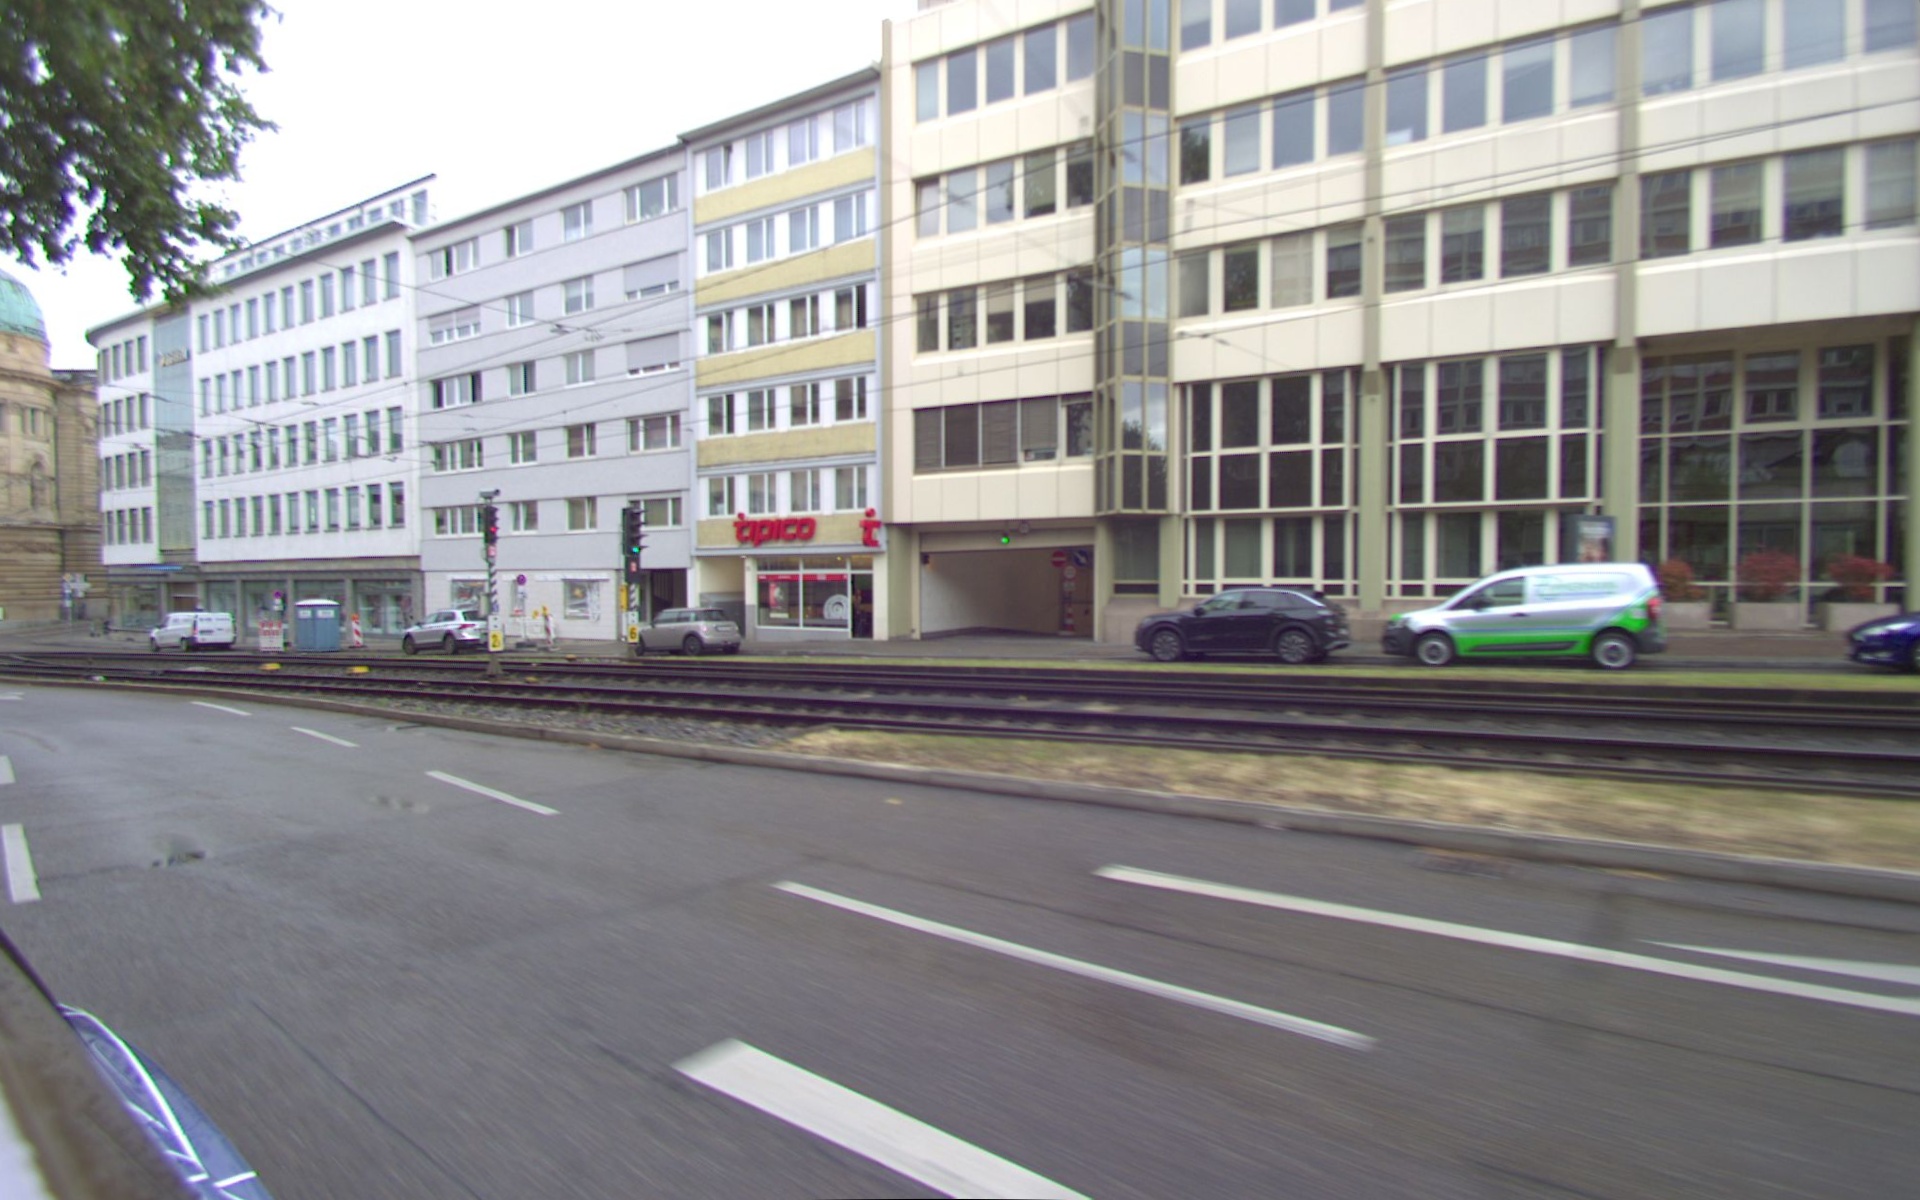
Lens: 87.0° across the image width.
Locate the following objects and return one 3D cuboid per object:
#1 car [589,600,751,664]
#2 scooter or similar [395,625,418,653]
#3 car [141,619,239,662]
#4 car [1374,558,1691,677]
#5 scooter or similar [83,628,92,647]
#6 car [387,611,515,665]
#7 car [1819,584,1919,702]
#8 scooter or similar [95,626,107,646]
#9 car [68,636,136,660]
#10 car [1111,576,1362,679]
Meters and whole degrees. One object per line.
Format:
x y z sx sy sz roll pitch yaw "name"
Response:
-8.690 0.902 30.236 4.678 1.686 1.980 -1 3 31 "car"
-24.331 1.714 44.488 0.970 1.211 0.378 -1 3 32 "scooter or similar"
-37.278 1.908 48.974 5.113 1.856 1.979 -1 3 31 "car"
10.065 0.263 18.103 4.678 1.863 1.980 -1 3 31 "car"
-58.064 2.484 67.338 0.404 1.209 1.562 -4 3 -41 "scooter or similar"
-18.345 1.382 36.433 4.682 1.686 1.978 -3 2 34 "car"
15.463 0.587 14.487 4.533 1.593 1.980 -1 3 31 "car"
-57.529 2.406 67.792 0.404 1.209 1.564 -3 3 -34 "scooter or similar"
-63.573 3.533 75.074 1.757 1.408 4.334 -2 2 -7 "car"
5.717 0.523 21.070 4.678 1.863 1.980 -1 3 31 "car"
